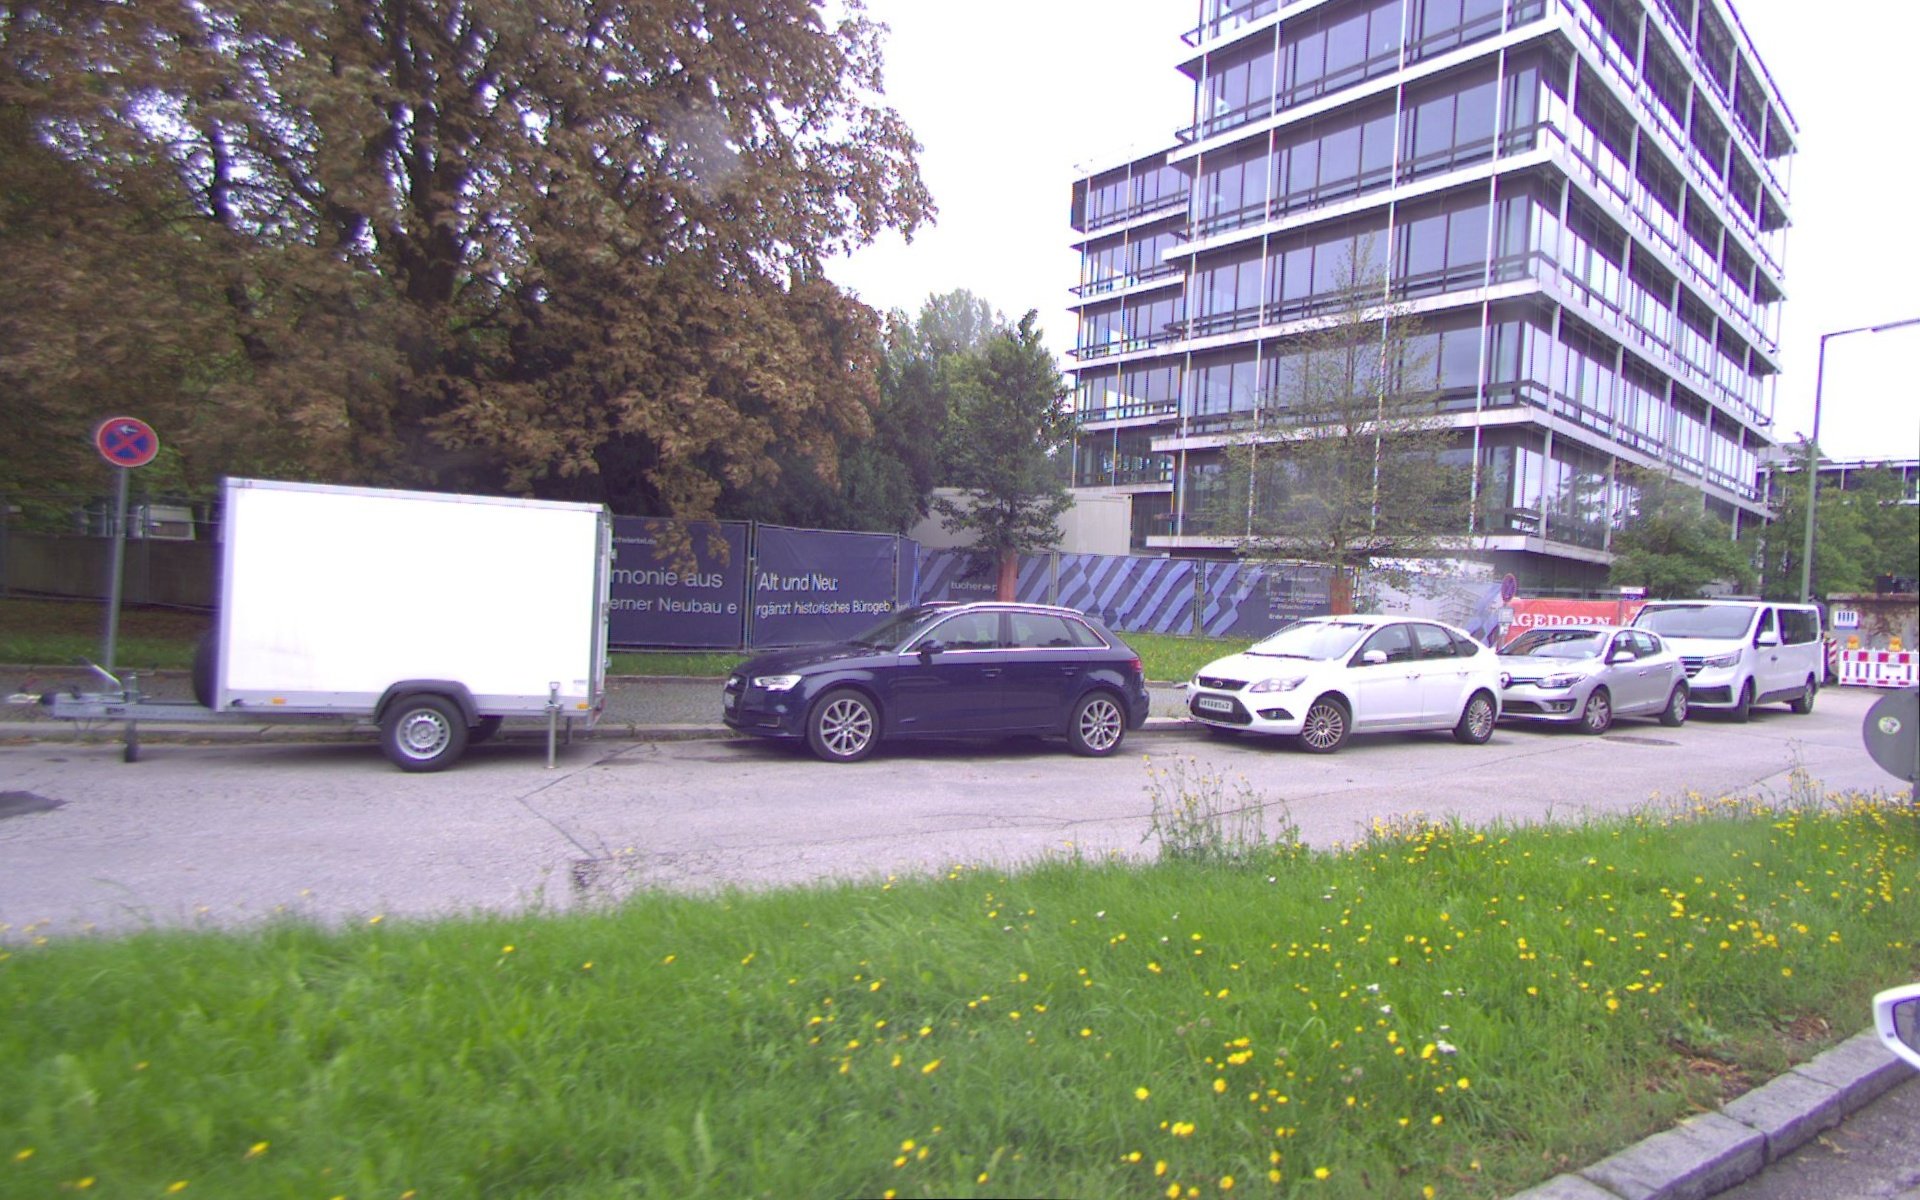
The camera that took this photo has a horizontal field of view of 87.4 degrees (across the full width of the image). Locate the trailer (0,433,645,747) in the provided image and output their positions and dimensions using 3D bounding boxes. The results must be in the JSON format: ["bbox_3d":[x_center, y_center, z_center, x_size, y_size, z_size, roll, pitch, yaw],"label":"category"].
[{"bbox_3d":[-5.040,-0.038,7.810,4.752,2.041,1.809,2,1,-14],"label":"trailer"}]

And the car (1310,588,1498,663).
[{"bbox_3d":[13.201,0.715,30.097,1.984,1.947,4.721,2,1,-40],"label":"car"}]

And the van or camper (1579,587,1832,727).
[{"bbox_3d":[13.026,0.908,17.428,5.325,2.041,1.979,2,2,-36],"label":"van or camper"}]

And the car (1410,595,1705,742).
[{"bbox_3d":[8.726,0.904,14.560,4.405,1.751,1.980,2,2,-35],"label":"car"}]

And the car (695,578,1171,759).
[{"bbox_3d":[-0.257,0.633,9.886,4.269,1.456,1.866,3,0,-25],"label":"car"}]

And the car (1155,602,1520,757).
[{"bbox_3d":[4.554,0.885,12.013,4.170,1.506,1.759,2,1,-29],"label":"car"}]

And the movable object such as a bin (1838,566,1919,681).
[{"bbox_3d":[34.834,0.855,36.360,8.936,3.766,3.213,1,2,-41],"label":"movable object such as a bin"}]

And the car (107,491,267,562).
[{"bbox_3d":[-35.195,-3.278,45.836,5.558,2.770,2.050,2,1,-43],"label":"car"}]
